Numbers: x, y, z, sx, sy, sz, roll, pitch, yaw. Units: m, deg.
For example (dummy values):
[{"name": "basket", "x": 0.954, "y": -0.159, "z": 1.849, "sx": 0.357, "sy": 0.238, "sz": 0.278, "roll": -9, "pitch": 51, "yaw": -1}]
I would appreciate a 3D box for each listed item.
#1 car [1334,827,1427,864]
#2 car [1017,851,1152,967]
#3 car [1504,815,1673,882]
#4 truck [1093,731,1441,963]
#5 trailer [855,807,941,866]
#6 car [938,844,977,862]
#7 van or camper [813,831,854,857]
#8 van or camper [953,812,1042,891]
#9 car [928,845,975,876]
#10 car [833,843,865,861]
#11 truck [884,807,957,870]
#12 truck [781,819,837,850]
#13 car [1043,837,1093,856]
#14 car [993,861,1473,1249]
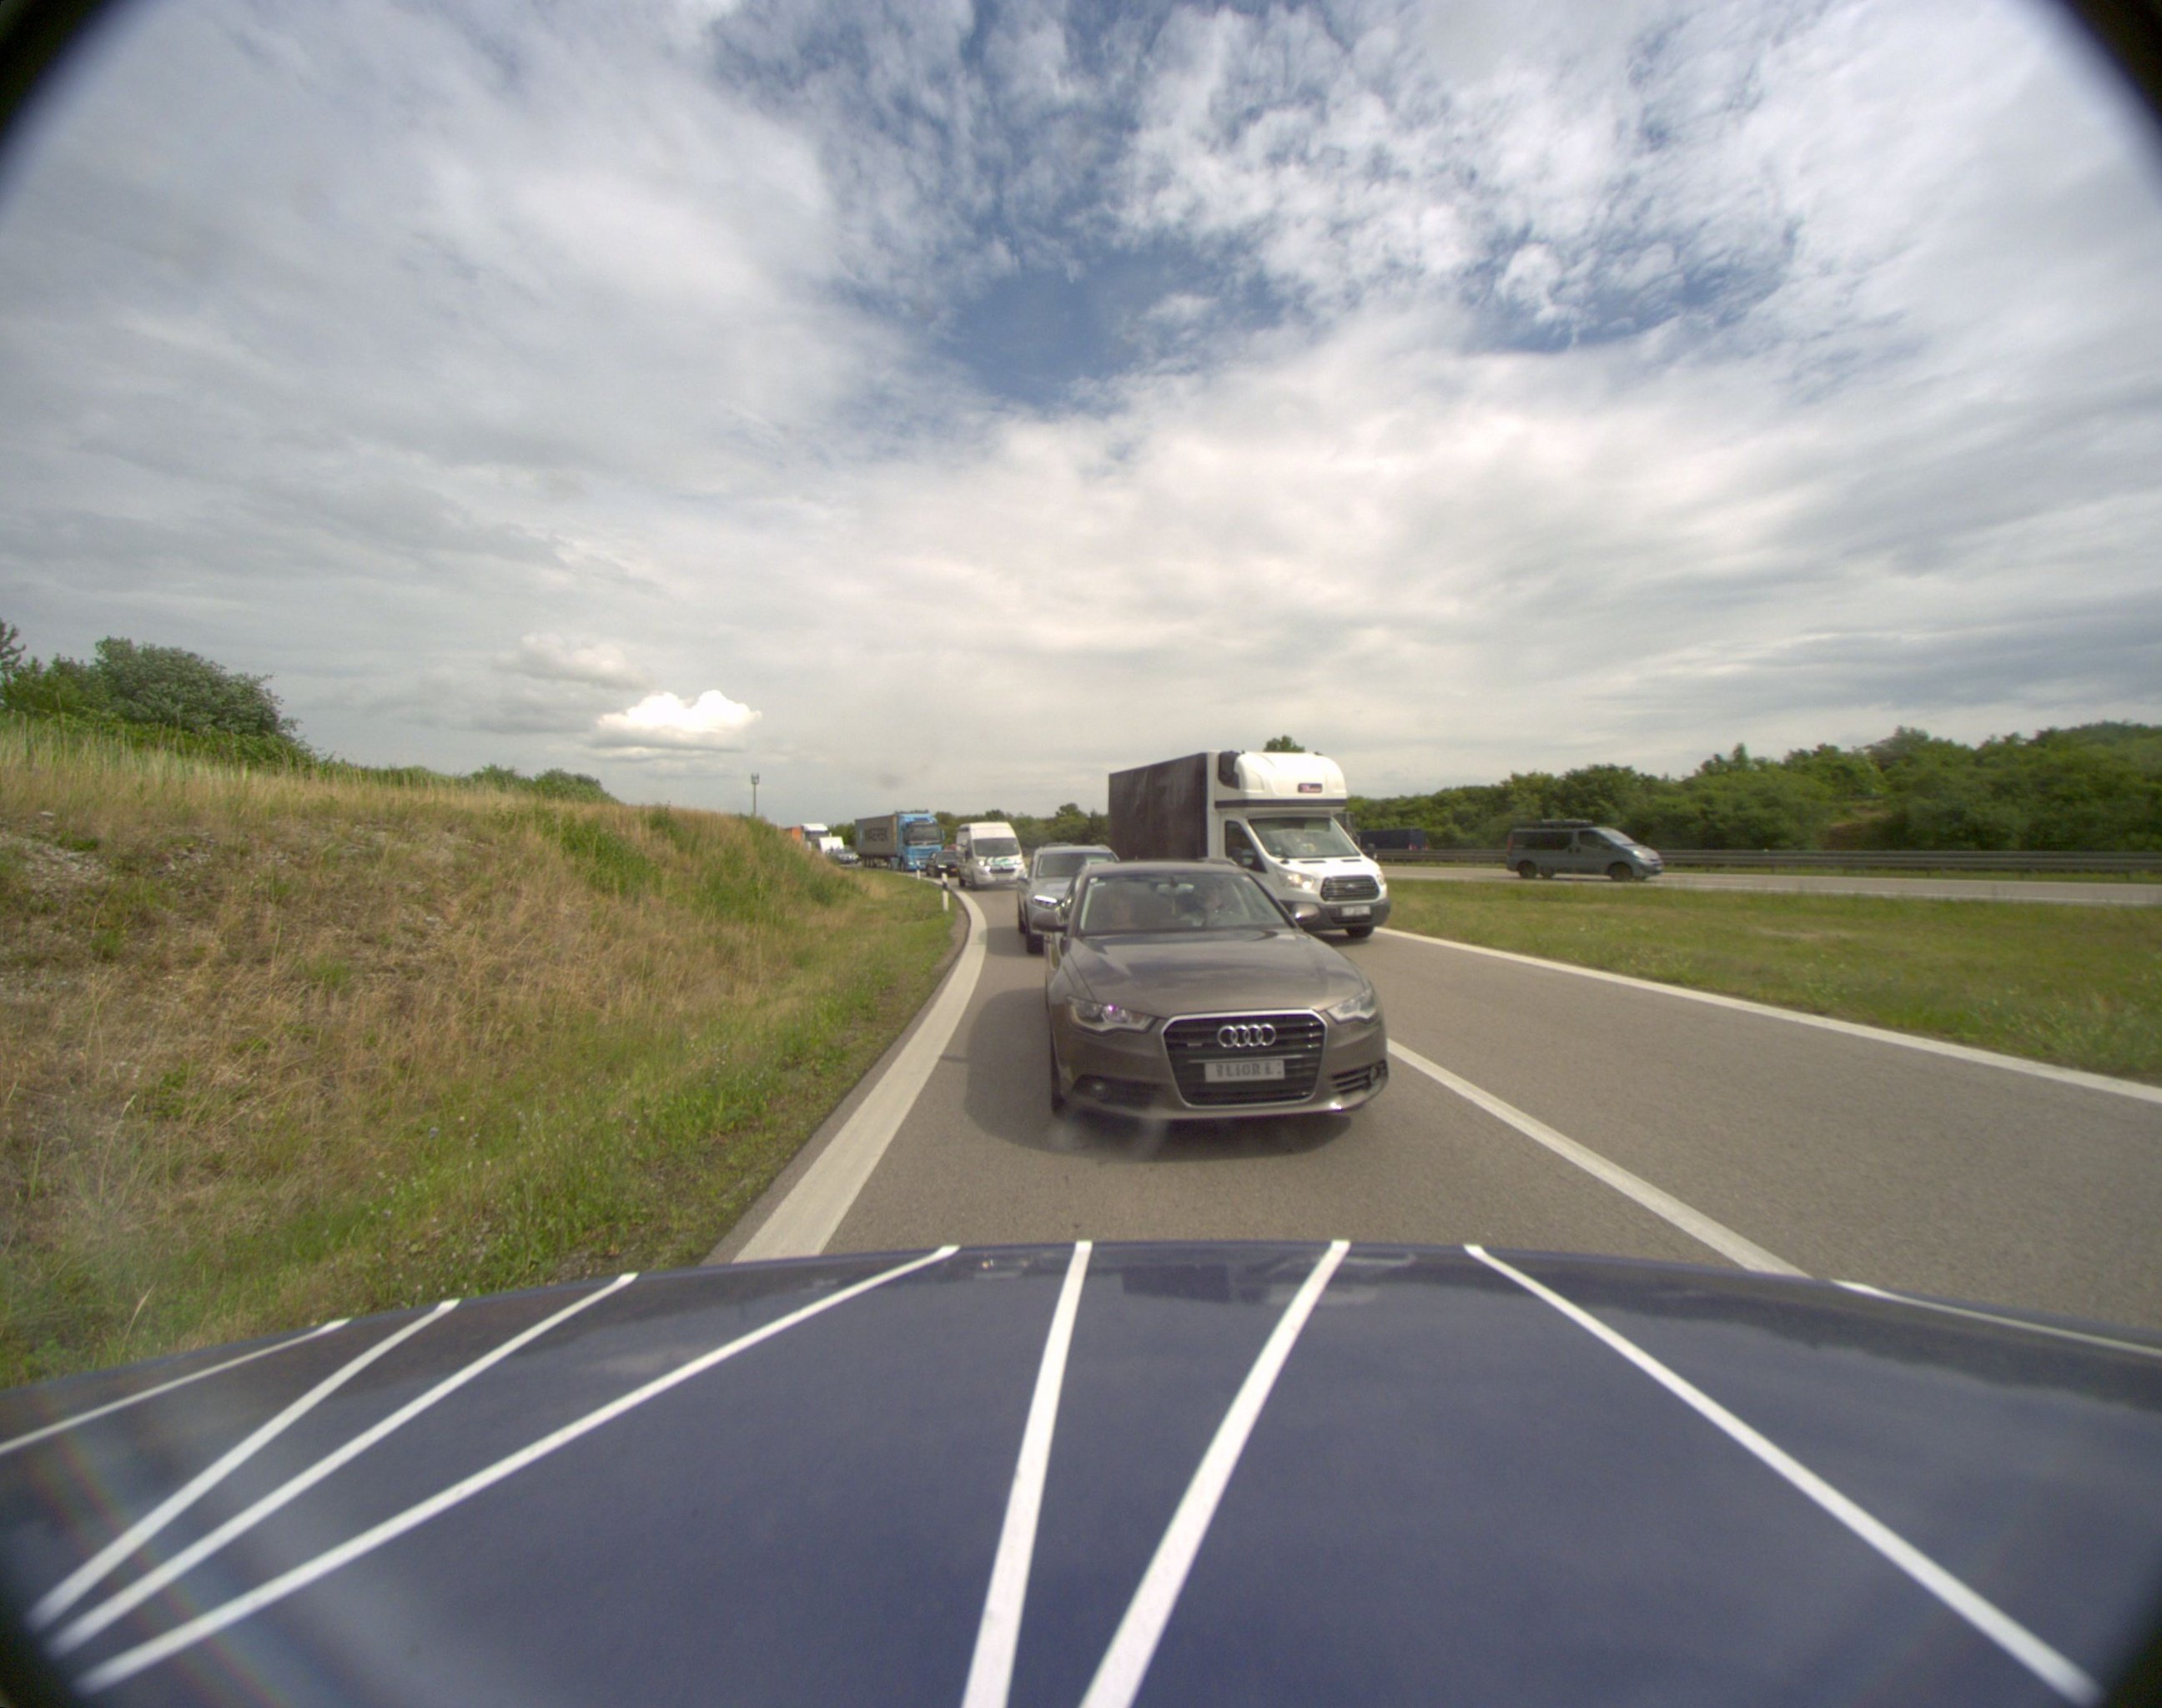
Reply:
[{"name": "car", "x": 21.369, "y": -0.576, "z": 54.478, "sx": 2.146, "sy": 2.421, "sz": 5.953, "roll": -3, "pitch": 1, "yaw": -34}, {"name": "car", "x": -0.119, "y": 0.772, "z": 12.893, "sx": 1.843, "sy": 1.587, "sz": 4.171, "roll": -1, "pitch": 1, "yaw": -6}, {"name": "car", "x": 18.615, "y": -0.254, "z": 28.113, "sx": 2.003, "sy": 2.246, "sz": 4.795, "roll": -2, "pitch": 2, "yaw": -34}, {"name": "truck", "x": 2.795, "y": -0.134, "z": 14.258, "sx": 2.571, "sy": 3.149, "sz": 7.455, "roll": -3, "pitch": 1, "yaw": -20}, {"name": "trailer", "x": -14.622, "y": -1.221, "z": 59.551, "sx": 3.280, "sy": 4.137, "sz": 11.989, "roll": -3, "pitch": 1, "yaw": -29}, {"name": "car", "x": -12.007, "y": -0.153, "z": 73.574, "sx": 2.003, "sy": 1.593, "sz": 4.796, "roll": -2, "pitch": 2, "yaw": -32}, {"name": "van or camper", "x": -24.541, "y": -1.015, "z": 75.065, "sx": 2.557, "sy": 2.200, "sz": 5.693, "roll": -3, "pitch": 5, "yaw": -31}, {"name": "van or camper", "x": -3.565, "y": -0.107, "z": 31.090, "sx": 2.401, "sy": 2.892, "sz": 5.711, "roll": -3, "pitch": 1, "yaw": -18}, {"name": "car", "x": -7.371, "y": 0.326, "z": 42.988, "sx": 2.002, "sy": 1.609, "sz": 3.992, "roll": -1, "pitch": 1, "yaw": -19}, {"name": "car", "x": -21.399, "y": -0.188, "z": 69.929, "sx": 2.003, "sy": 1.521, "sz": 3.990, "roll": -2, "pitch": 2, "yaw": -29}, {"name": "truck", "x": -11.365, "y": -1.021, "z": 53.265, "sx": 3.184, "sy": 4.049, "sz": 6.632, "roll": -3, "pitch": 1, "yaw": -27}, {"name": "truck", "x": -30.568, "y": -2.113, "z": 84.955, "sx": 3.131, "sy": 3.220, "sz": 11.131, "roll": -2, "pitch": 1, "yaw": -34}, {"name": "car", "x": -1.154, "y": -0.687, "z": 65.674, "sx": 2.003, "sy": 1.590, "sz": 4.715, "roll": -2, "pitch": 2, "yaw": -35}, {"name": "car", "x": 0.630, "y": 0.871, "z": 5.482, "sx": 1.999, "sy": 1.505, "sz": 4.537, "roll": -2, "pitch": 1, "yaw": -1}]
